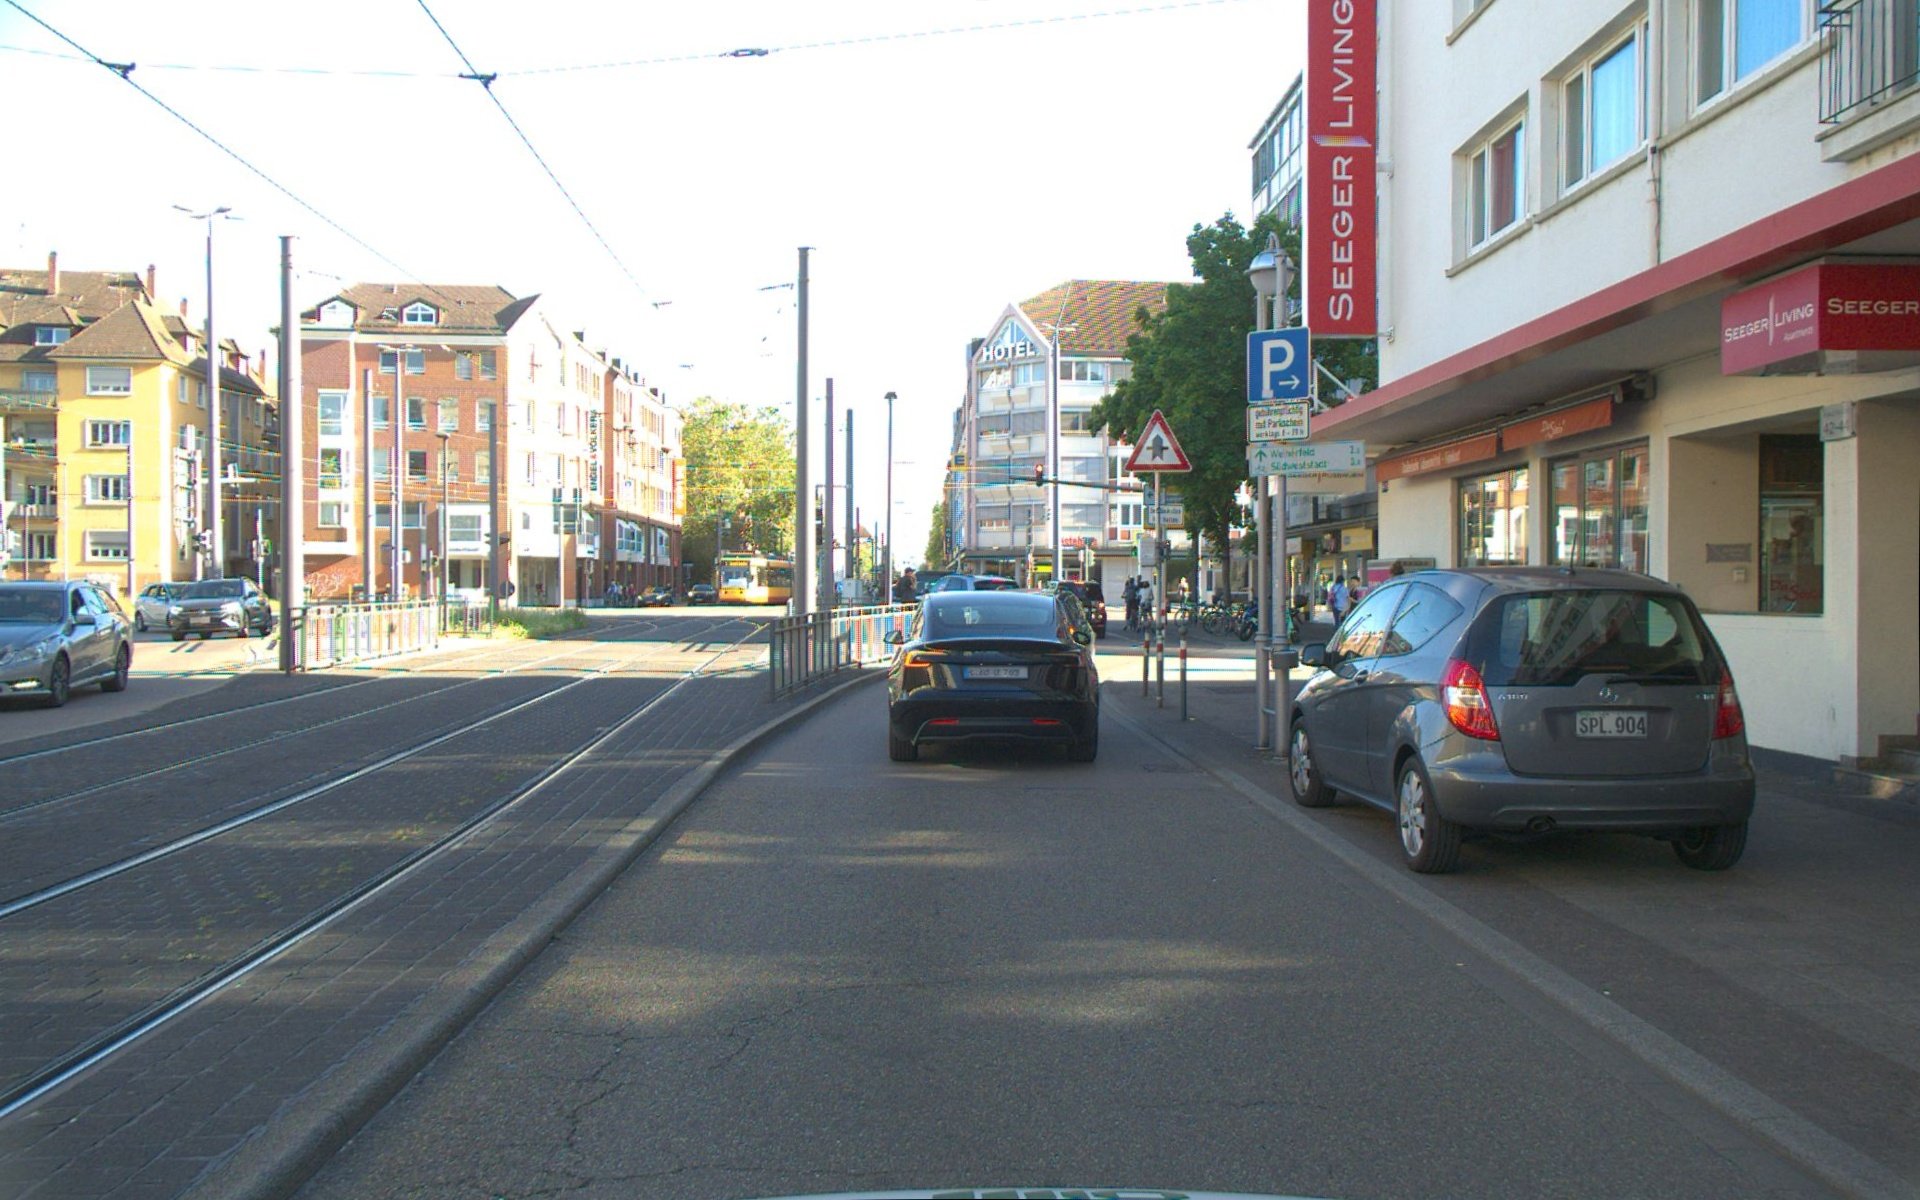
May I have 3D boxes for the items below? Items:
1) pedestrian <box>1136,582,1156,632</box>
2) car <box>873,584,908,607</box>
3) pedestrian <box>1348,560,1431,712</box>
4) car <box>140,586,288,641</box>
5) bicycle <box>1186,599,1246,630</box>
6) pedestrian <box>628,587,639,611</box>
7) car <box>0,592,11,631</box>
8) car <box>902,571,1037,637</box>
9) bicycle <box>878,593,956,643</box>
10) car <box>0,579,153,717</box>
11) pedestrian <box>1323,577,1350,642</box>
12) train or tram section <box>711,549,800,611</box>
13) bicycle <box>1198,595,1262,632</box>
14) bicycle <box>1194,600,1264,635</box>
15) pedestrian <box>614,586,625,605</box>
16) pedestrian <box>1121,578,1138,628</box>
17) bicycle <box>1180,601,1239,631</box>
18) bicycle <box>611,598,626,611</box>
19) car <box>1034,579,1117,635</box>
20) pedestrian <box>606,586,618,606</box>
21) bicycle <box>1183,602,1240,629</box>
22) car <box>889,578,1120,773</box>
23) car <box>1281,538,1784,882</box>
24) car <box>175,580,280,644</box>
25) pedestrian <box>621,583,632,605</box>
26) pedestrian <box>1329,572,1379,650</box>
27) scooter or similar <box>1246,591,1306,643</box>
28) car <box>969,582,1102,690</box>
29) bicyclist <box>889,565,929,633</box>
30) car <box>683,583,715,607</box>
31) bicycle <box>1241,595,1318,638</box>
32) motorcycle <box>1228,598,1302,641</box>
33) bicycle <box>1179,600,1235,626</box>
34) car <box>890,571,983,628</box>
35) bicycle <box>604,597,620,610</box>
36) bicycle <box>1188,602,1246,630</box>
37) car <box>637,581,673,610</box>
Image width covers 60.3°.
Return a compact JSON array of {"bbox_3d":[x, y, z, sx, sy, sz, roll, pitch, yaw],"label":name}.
[{"bbox_3d":[6.198,0.218,55.140,0.616,1.642,0.643,1,0,2],"label":"pedestrian"},{"bbox_3d":[-4.632,-0.290,110.778,1.952,1.445,4.001,2,0,2],"label":"car"},{"bbox_3d":[5.002,0.409,19.248,0.800,1.712,0.714,2,0,22],"label":"pedestrian"},{"bbox_3d":[-24.340,0.427,53.963,4.500,1.583,1.815,2,0,23],"label":"car"},{"bbox_3d":[8.404,0.473,54.294,1.885,0.967,0.526,1,0,0],"label":"bicycle"},{"bbox_3d":[-23.939,-0.091,121.334,0.698,1.696,0.563,2,0,-10],"label":"pedestrian"},{"bbox_3d":[-39.384,0.420,64.087,4.071,1.516,1.934,1,0,-11],"label":"car"},{"bbox_3d":[0.181,0.083,42.234,1.761,1.545,4.183,2,0,-26],"label":"car"},{"bbox_3d":[-0.994,0.415,38.313,1.696,1.107,0.677,2,0,-9],"label":"bicycle"},{"bbox_3d":[-11.650,0.524,20.590,1.848,1.521,4.913,-1,0,-14],"label":"car"},{"bbox_3d":[9.788,0.249,42.966,0.583,1.670,0.466,-1,0,0],"label":"pedestrian"},{"bbox_3d":[-13.384,-1.223,109.817,2.618,3.780,14.202,2,0,6],"label":"train or tram section"},{"bbox_3d":[8.383,0.421,51.405,1.885,1.116,0.554,1,0,0],"label":"bicycle"},{"bbox_3d":[8.016,0.522,49.336,2.009,0.999,0.483,1,0,0],"label":"bicycle"},{"bbox_3d":[-24.150,-0.306,117.198,0.682,1.331,0.564,0,0,-2],"label":"pedestrian"},{"bbox_3d":[5.877,0.101,57.352,0.550,1.712,0.750,1,0,4],"label":"pedestrian"},{"bbox_3d":[8.353,0.546,55.308,1.885,0.967,0.526,1,0,0],"label":"bicycle"},{"bbox_3d":[-24.153,0.296,117.117,0.688,0.869,2.053,0,1,-1],"label":"bicycle"},{"bbox_3d":[3.384,0.196,49.126,1.789,1.545,3.644,2,0,-6],"label":"car"},{"bbox_3d":[-24.090,-0.252,114.617,0.697,1.365,0.666,0,0,-1],"label":"pedestrian"},{"bbox_3d":[8.699,0.524,57.280,1.885,0.906,0.526,1,0,0],"label":"bicycle"},{"bbox_3d":[0.286,0.602,15.121,1.812,1.510,3.785,2,0,-2],"label":"car"},{"bbox_3d":[3.181,0.515,9.979,1.710,1.660,3.648,-1,1,-1],"label":"car"},{"bbox_3d":[-18.552,0.275,42.048,1.735,1.538,4.264,0,0,-14],"label":"car"},{"bbox_3d":[-24.013,-0.422,119.163,0.698,1.582,0.563,2,0,-10],"label":"pedestrian"},{"bbox_3d":[9.161,0.266,38.449,0.992,1.772,0.524,2,0,-26],"label":"pedestrian"},{"bbox_3d":[8.167,0.448,42.793,1.392,1.340,0.690,1,-2,-27],"label":"scooter or similar"},{"bbox_3d":[1.231,0.481,25.284,1.618,1.443,4.003,2,1,8],"label":"car"},{"bbox_3d":[-1.173,-0.021,38.206,0.821,1.526,0.559,2,0,-9],"label":"bicyclist"},{"bbox_3d":[-19.299,-0.393,122.458,1.715,1.680,3.999,2,0,-1],"label":"car"},{"bbox_3d":[8.731,0.448,45.182,2.009,1.141,0.483,1,0,0],"label":"bicycle"},{"bbox_3d":[8.680,0.551,47.114,1.951,1.147,0.596,2,0,-1],"label":"motorcycle"},{"bbox_3d":[8.713,0.453,58.372,1.885,0.906,0.526,1,0,0],"label":"bicycle"},{"bbox_3d":[-0.744,-0.024,48.826,1.793,1.545,4.203,2,0,-14],"label":"car"},{"bbox_3d":[-24.092,0.216,114.610,0.688,0.869,2.053,0,1,-1],"label":"bicycle"},{"bbox_3d":[8.743,0.541,56.359,1.885,0.903,0.526,1,0,0],"label":"bicycle"},{"bbox_3d":[-22.007,-0.314,119.484,1.953,2.049,3.999,0,1,-1],"label":"car"}]
